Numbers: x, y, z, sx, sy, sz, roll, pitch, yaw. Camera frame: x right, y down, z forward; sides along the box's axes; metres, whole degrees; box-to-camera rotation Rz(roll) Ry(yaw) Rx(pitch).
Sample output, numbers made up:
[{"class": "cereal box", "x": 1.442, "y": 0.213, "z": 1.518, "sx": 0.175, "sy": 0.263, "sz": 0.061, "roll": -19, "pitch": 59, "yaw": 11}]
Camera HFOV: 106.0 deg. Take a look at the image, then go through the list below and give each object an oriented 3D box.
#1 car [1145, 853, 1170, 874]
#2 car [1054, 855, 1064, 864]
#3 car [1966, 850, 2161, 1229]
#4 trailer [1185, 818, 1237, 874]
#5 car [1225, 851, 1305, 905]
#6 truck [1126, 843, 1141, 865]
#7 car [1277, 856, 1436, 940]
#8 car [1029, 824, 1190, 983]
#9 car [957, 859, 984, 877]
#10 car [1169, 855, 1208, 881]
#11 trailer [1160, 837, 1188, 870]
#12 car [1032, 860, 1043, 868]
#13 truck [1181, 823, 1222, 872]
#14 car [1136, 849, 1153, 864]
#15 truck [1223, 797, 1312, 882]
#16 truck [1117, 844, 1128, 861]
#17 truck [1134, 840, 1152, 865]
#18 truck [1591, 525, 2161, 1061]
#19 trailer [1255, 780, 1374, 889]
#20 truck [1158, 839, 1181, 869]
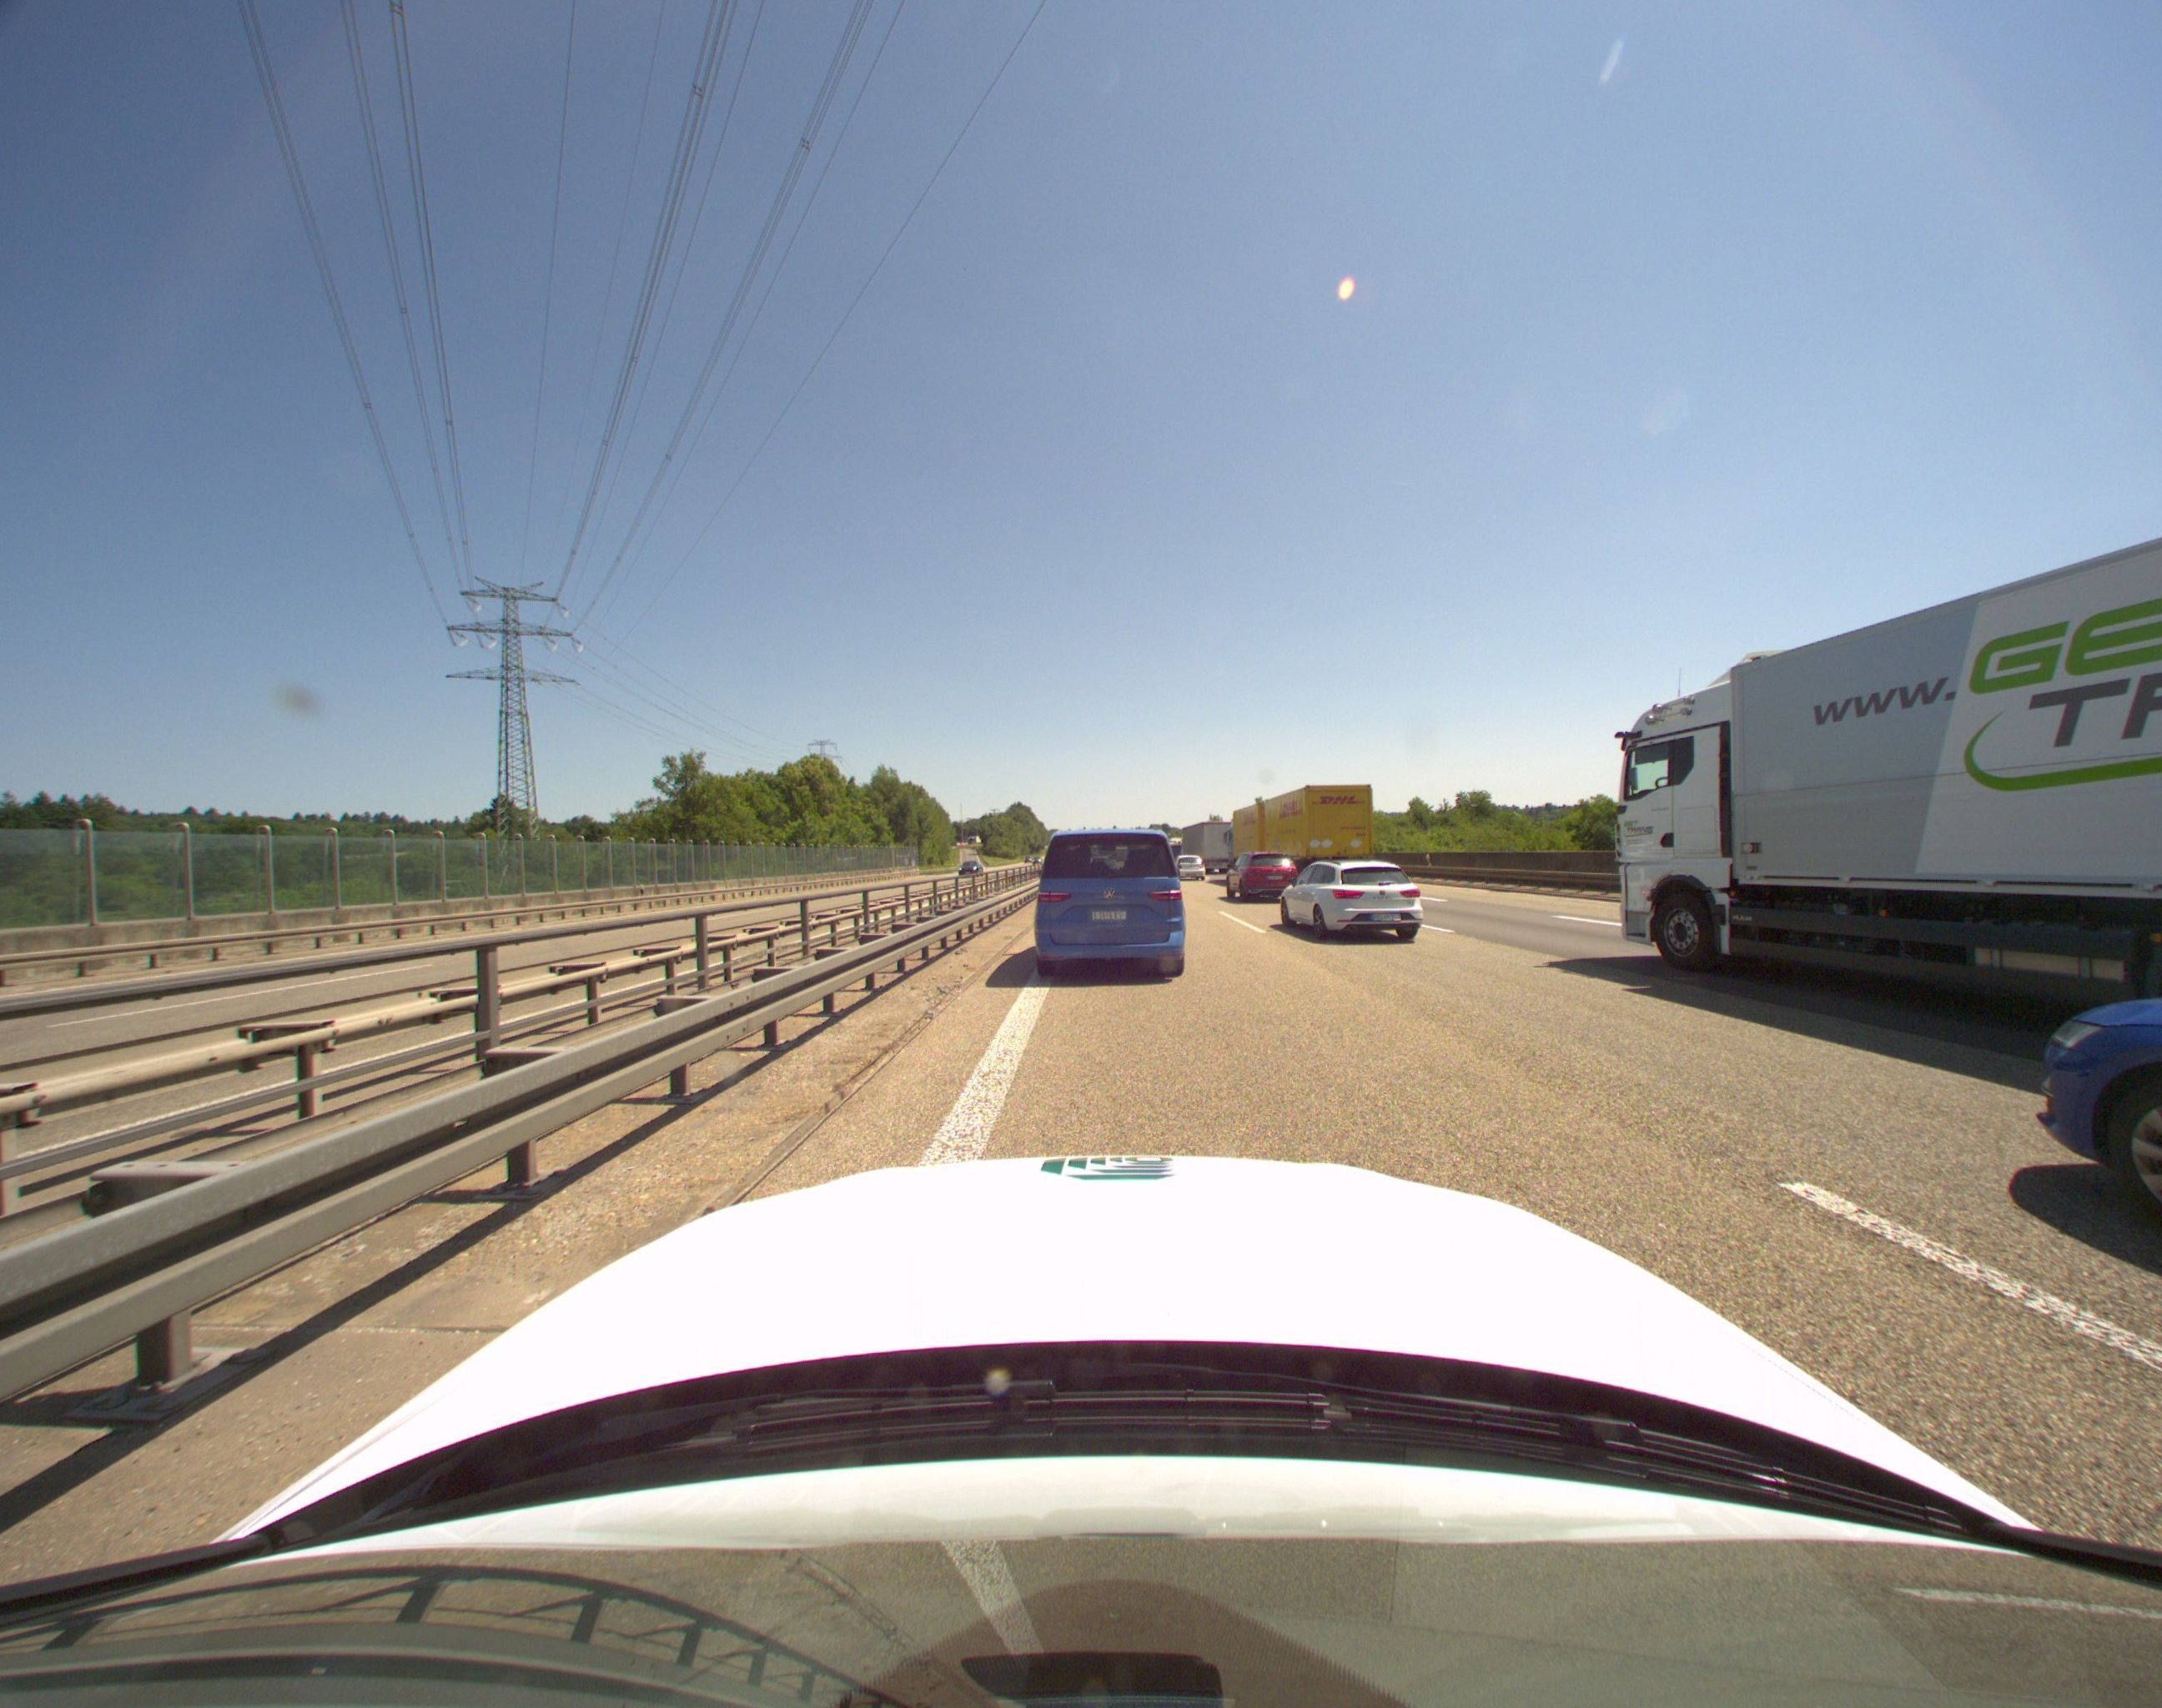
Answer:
[{"class": "car", "x": 6.454, "y": 0.794, "z": 68.766, "sx": 1.709, "sy": 1.587, "sz": 3.821, "roll": -2, "pitch": 0, "yaw": 0}, {"class": "car", "x": -4.360, "y": 1.144, "z": 163.689, "sx": 1.748, "sy": 1.721, "sz": 4.102, "roll": -3, "pitch": 0, "yaw": 2}, {"class": "car", "x": 4.952, "y": 0.691, "z": 1.530, "sx": 1.704, "sy": 1.440, "sz": 4.500, "roll": -1, "pitch": 0, "yaw": 0}, {"class": "trailer", "x": 10.437, "y": -0.520, "z": 66.574, "sx": 2.745, "sy": 4.146, "sz": 11.315, "roll": 0, "pitch": -1, "yaw": 2}, {"class": "car", "x": 6.016, "y": 0.730, "z": 27.114, "sx": 1.844, "sy": 1.608, "sz": 4.002, "roll": -1, "pitch": 0, "yaw": 2}, {"class": "truck", "x": 12.588, "y": 0.069, "z": 196.355, "sx": 2.824, "sy": 5.040, "sz": 11.815, "roll": 0, "pitch": -1, "yaw": 0}, {"class": "car", "x": 5.120, "y": 0.751, "z": 15.748, "sx": 1.774, "sy": 1.387, "sz": 4.189, "roll": -1, "pitch": 0, "yaw": 2}, {"class": "car", "x": 0.398, "y": 0.593, "z": 11.601, "sx": 1.875, "sy": 1.837, "sz": 4.001, "roll": -1, "pitch": 0, "yaw": 2}, {"class": "car", "x": -10.683, "y": 1.350, "z": 79.147, "sx": 1.774, "sy": 1.569, "sz": 4.388, "roll": -3, "pitch": -1, "yaw": 1}, {"class": "car", "x": 6.438, "y": 0.819, "z": 49.105, "sx": 1.832, "sy": 1.414, "sz": 3.999, "roll": -1, "pitch": 0, "yaw": 0}, {"class": "trailer", "x": 11.172, "y": -0.007, "z": 98.613, "sx": 2.371, "sy": 3.744, "sz": 11.190, "roll": 0, "pitch": -1, "yaw": 1}, {"class": "car", "x": -8.789, "y": 1.945, "z": 163.298, "sx": 1.748, "sy": 1.547, "sz": 4.001, "roll": -3, "pitch": -1, "yaw": 2}, {"class": "truck", "x": 10.609, "y": -0.479, "z": 72.256, "sx": 2.758, "sy": 4.095, "sz": 6.985, "roll": 0, "pitch": -1, "yaw": 1}, {"class": "car", "x": 7.258, "y": 0.284, "z": 93.661, "sx": 1.709, "sy": 1.540, "sz": 3.822, "roll": -3, "pitch": 0, "yaw": 2}, {"class": "truck", "x": 9.862, "y": -0.631, "z": 44.237, "sx": 2.712, "sy": 4.055, "sz": 10.339, "roll": 0, "pitch": -1, "yaw": 2}, {"class": "truck", "x": 12.854, "y": -0.378, "z": 255.245, "sx": 2.824, "sy": 5.373, "sz": 12.553, "roll": 0, "pitch": -1, "yaw": 0}, {"class": "truck", "x": 12.550, "y": -0.209, "z": 164.724, "sx": 2.824, "sy": 5.040, "sz": 11.144, "roll": 0, "pitch": -1, "yaw": 0}, {"class": "truck", "x": 8.720, "y": -0.400, "z": 6.454, "sx": 2.840, "sy": 3.603, "sz": 10.771, "roll": 0, "pitch": -1, "yaw": 2}, {"class": "trailer", "x": 9.595, "y": -0.656, "z": 34.580, "sx": 2.691, "sy": 4.024, "sz": 8.932, "roll": 0, "pitch": -1, "yaw": 1}, {"class": "truck", "x": 11.311, "y": 0.069, "z": 104.238, "sx": 2.359, "sy": 3.722, "sz": 6.034, "roll": 0, "pitch": -1, "yaw": 1}]
